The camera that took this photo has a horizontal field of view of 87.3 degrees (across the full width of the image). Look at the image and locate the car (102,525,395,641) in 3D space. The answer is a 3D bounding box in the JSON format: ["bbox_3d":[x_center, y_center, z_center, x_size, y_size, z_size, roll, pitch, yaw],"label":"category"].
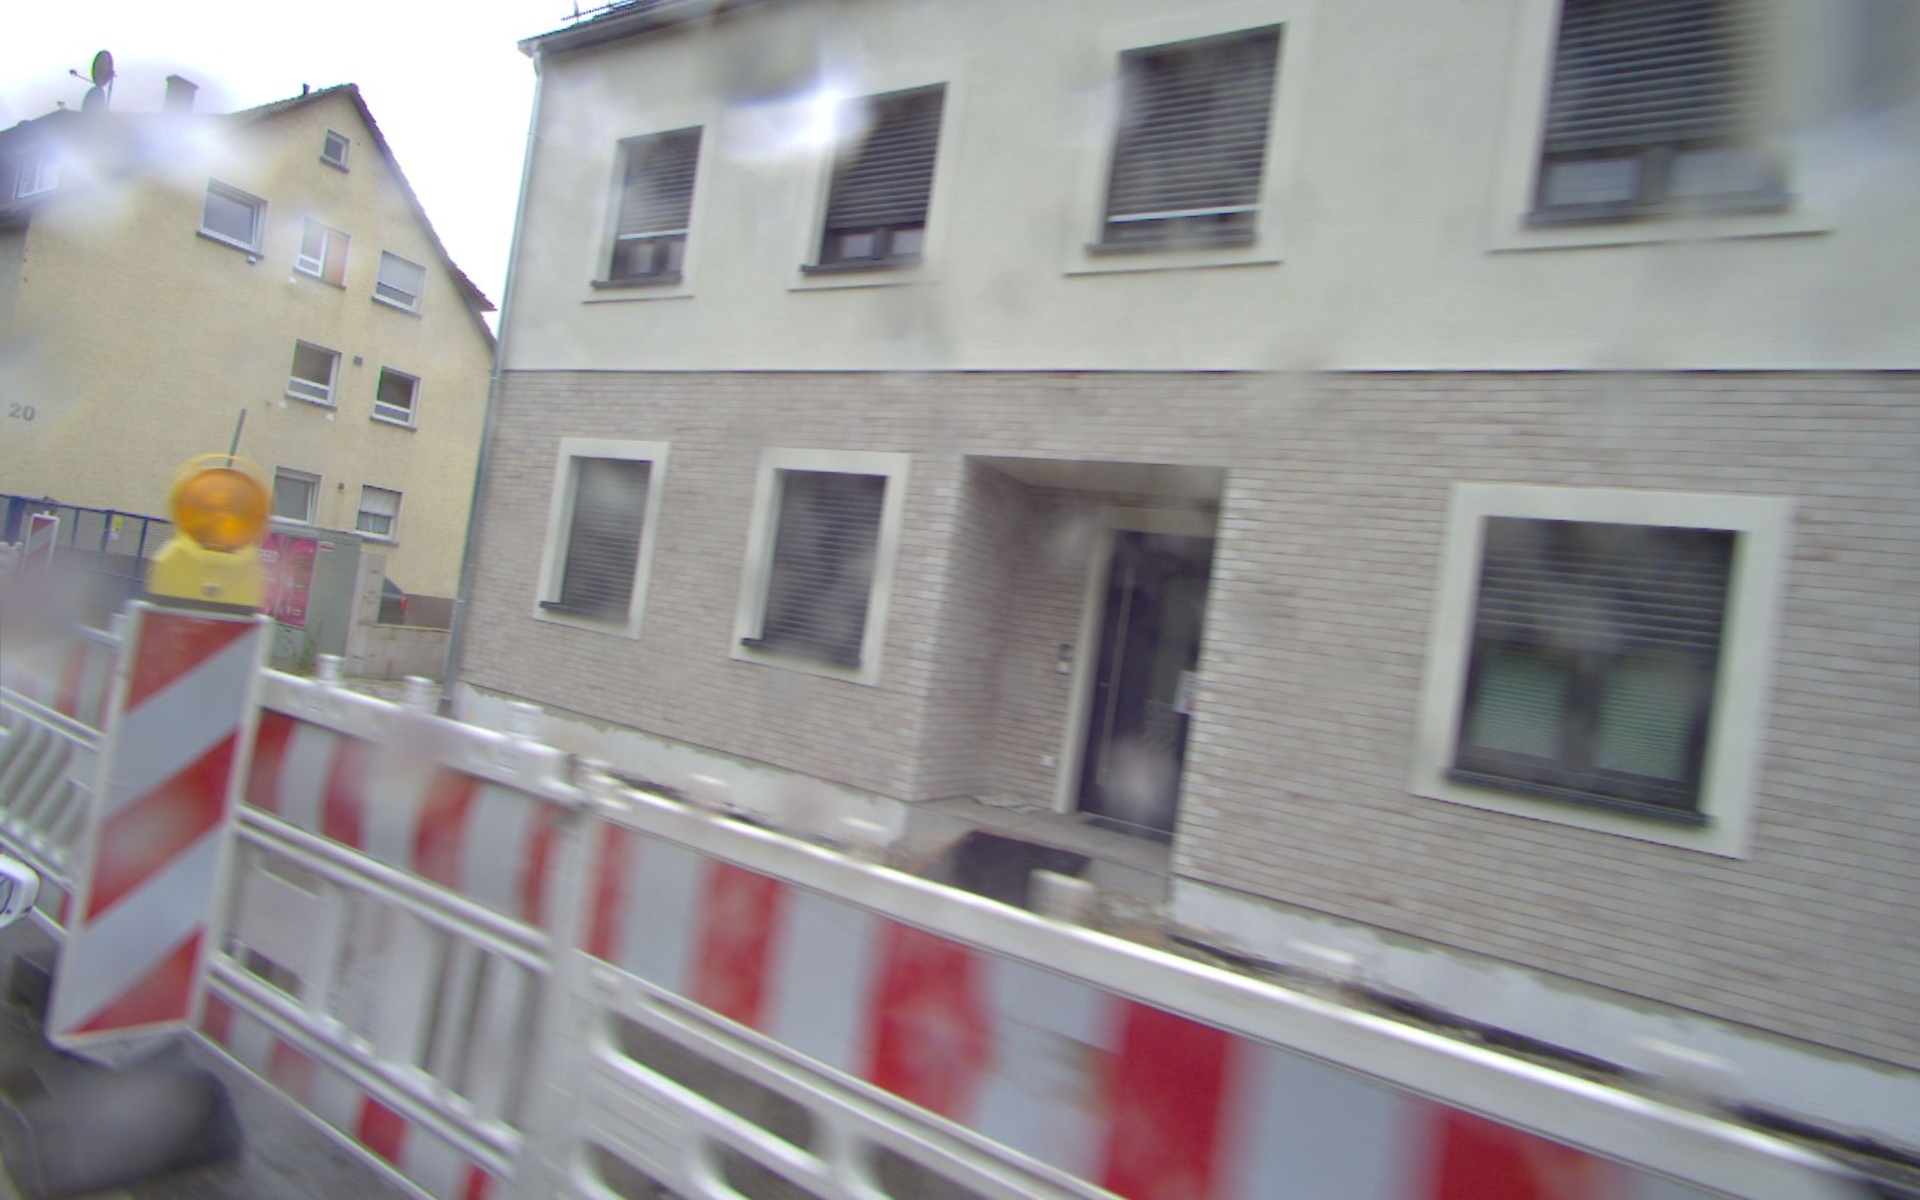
[{"bbox_3d":[-13.717,-0.261,19.684,1.880,1.314,4.163,7,-7,30],"label":"car"}]
